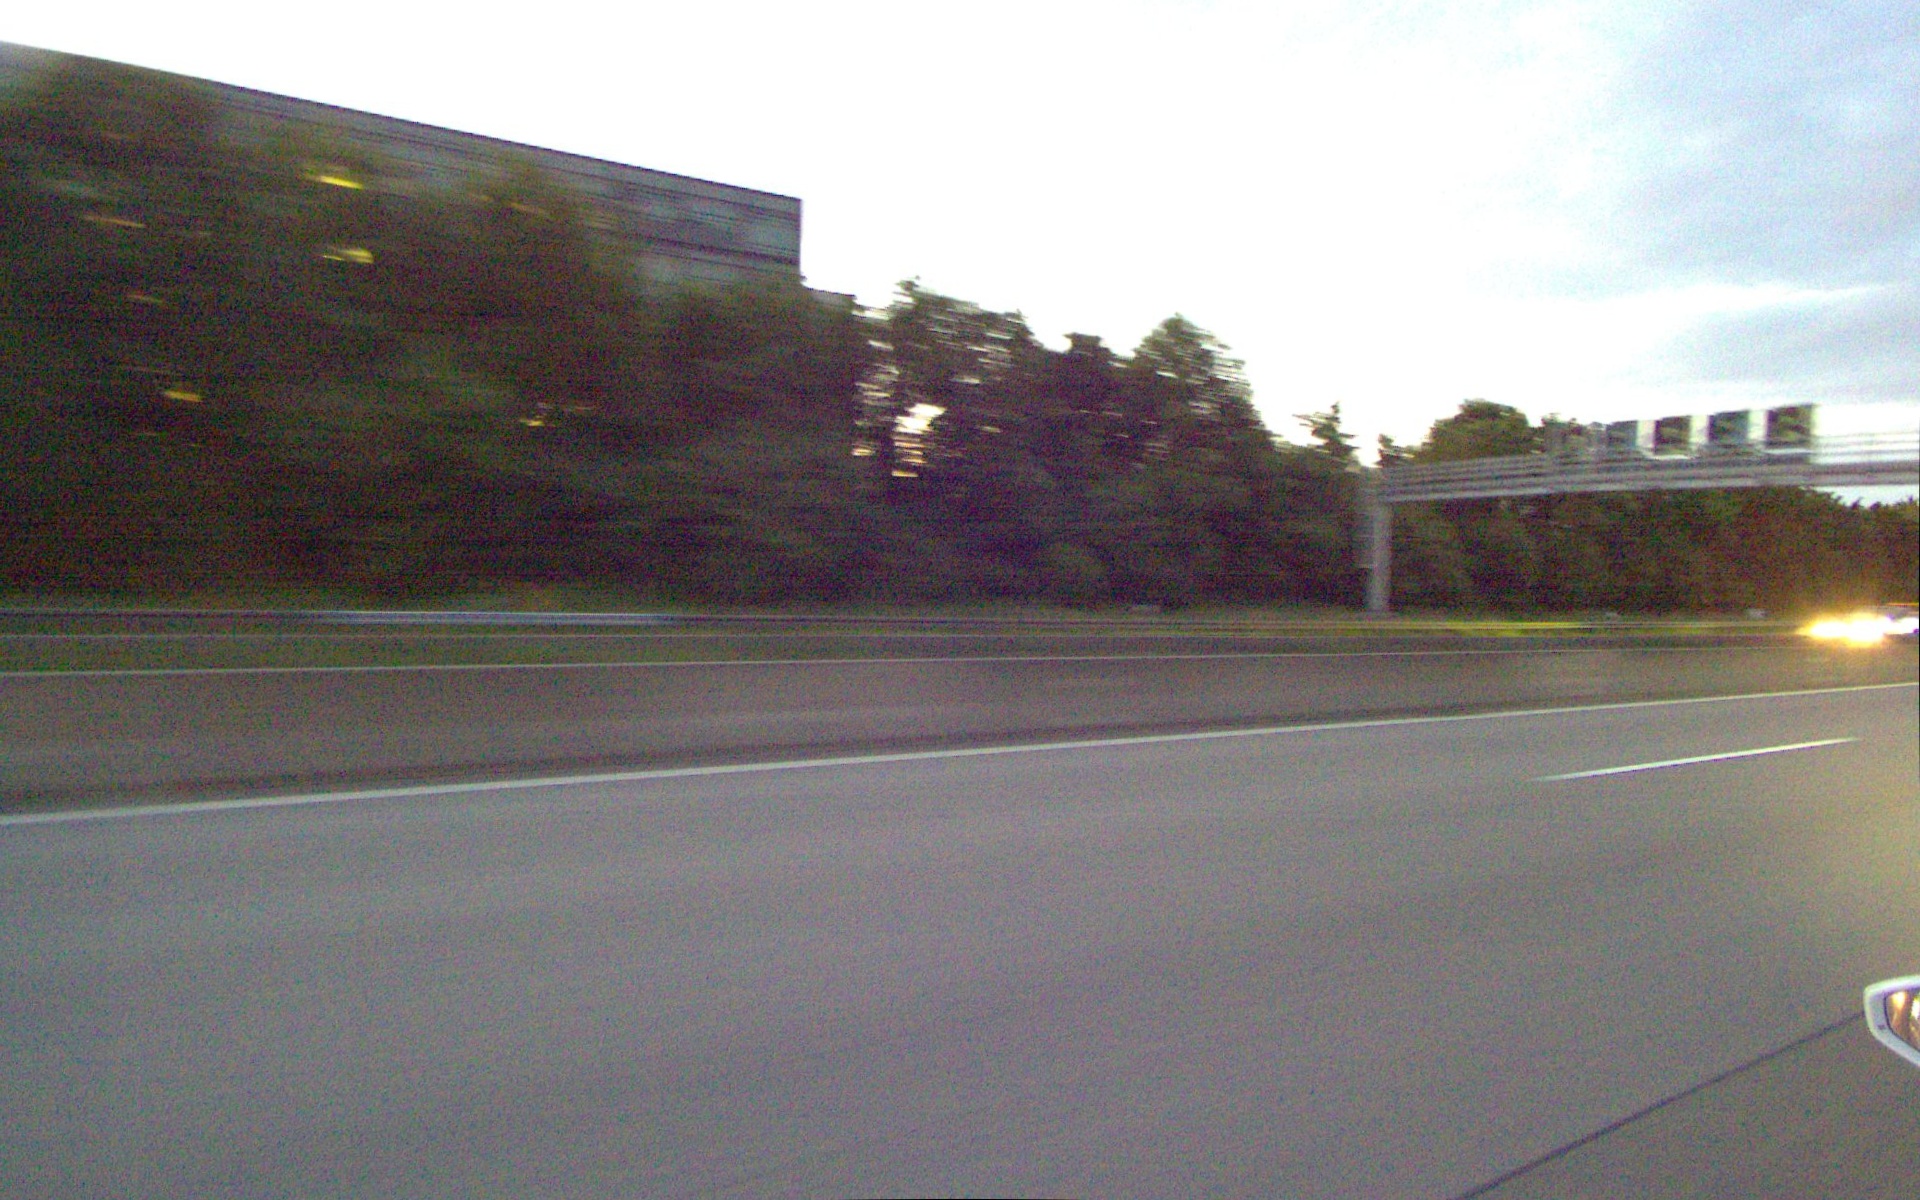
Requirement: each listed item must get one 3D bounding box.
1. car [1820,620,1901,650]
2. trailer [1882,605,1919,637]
[{"bbox_3d":[44.789,1.727,49.928,4.842,1.372,1.680,2,0,-31],"label":"car"},{"bbox_3d":[65.853,1.464,69.469,4.192,2.029,1.903,1,2,-31],"label":"trailer"}]
